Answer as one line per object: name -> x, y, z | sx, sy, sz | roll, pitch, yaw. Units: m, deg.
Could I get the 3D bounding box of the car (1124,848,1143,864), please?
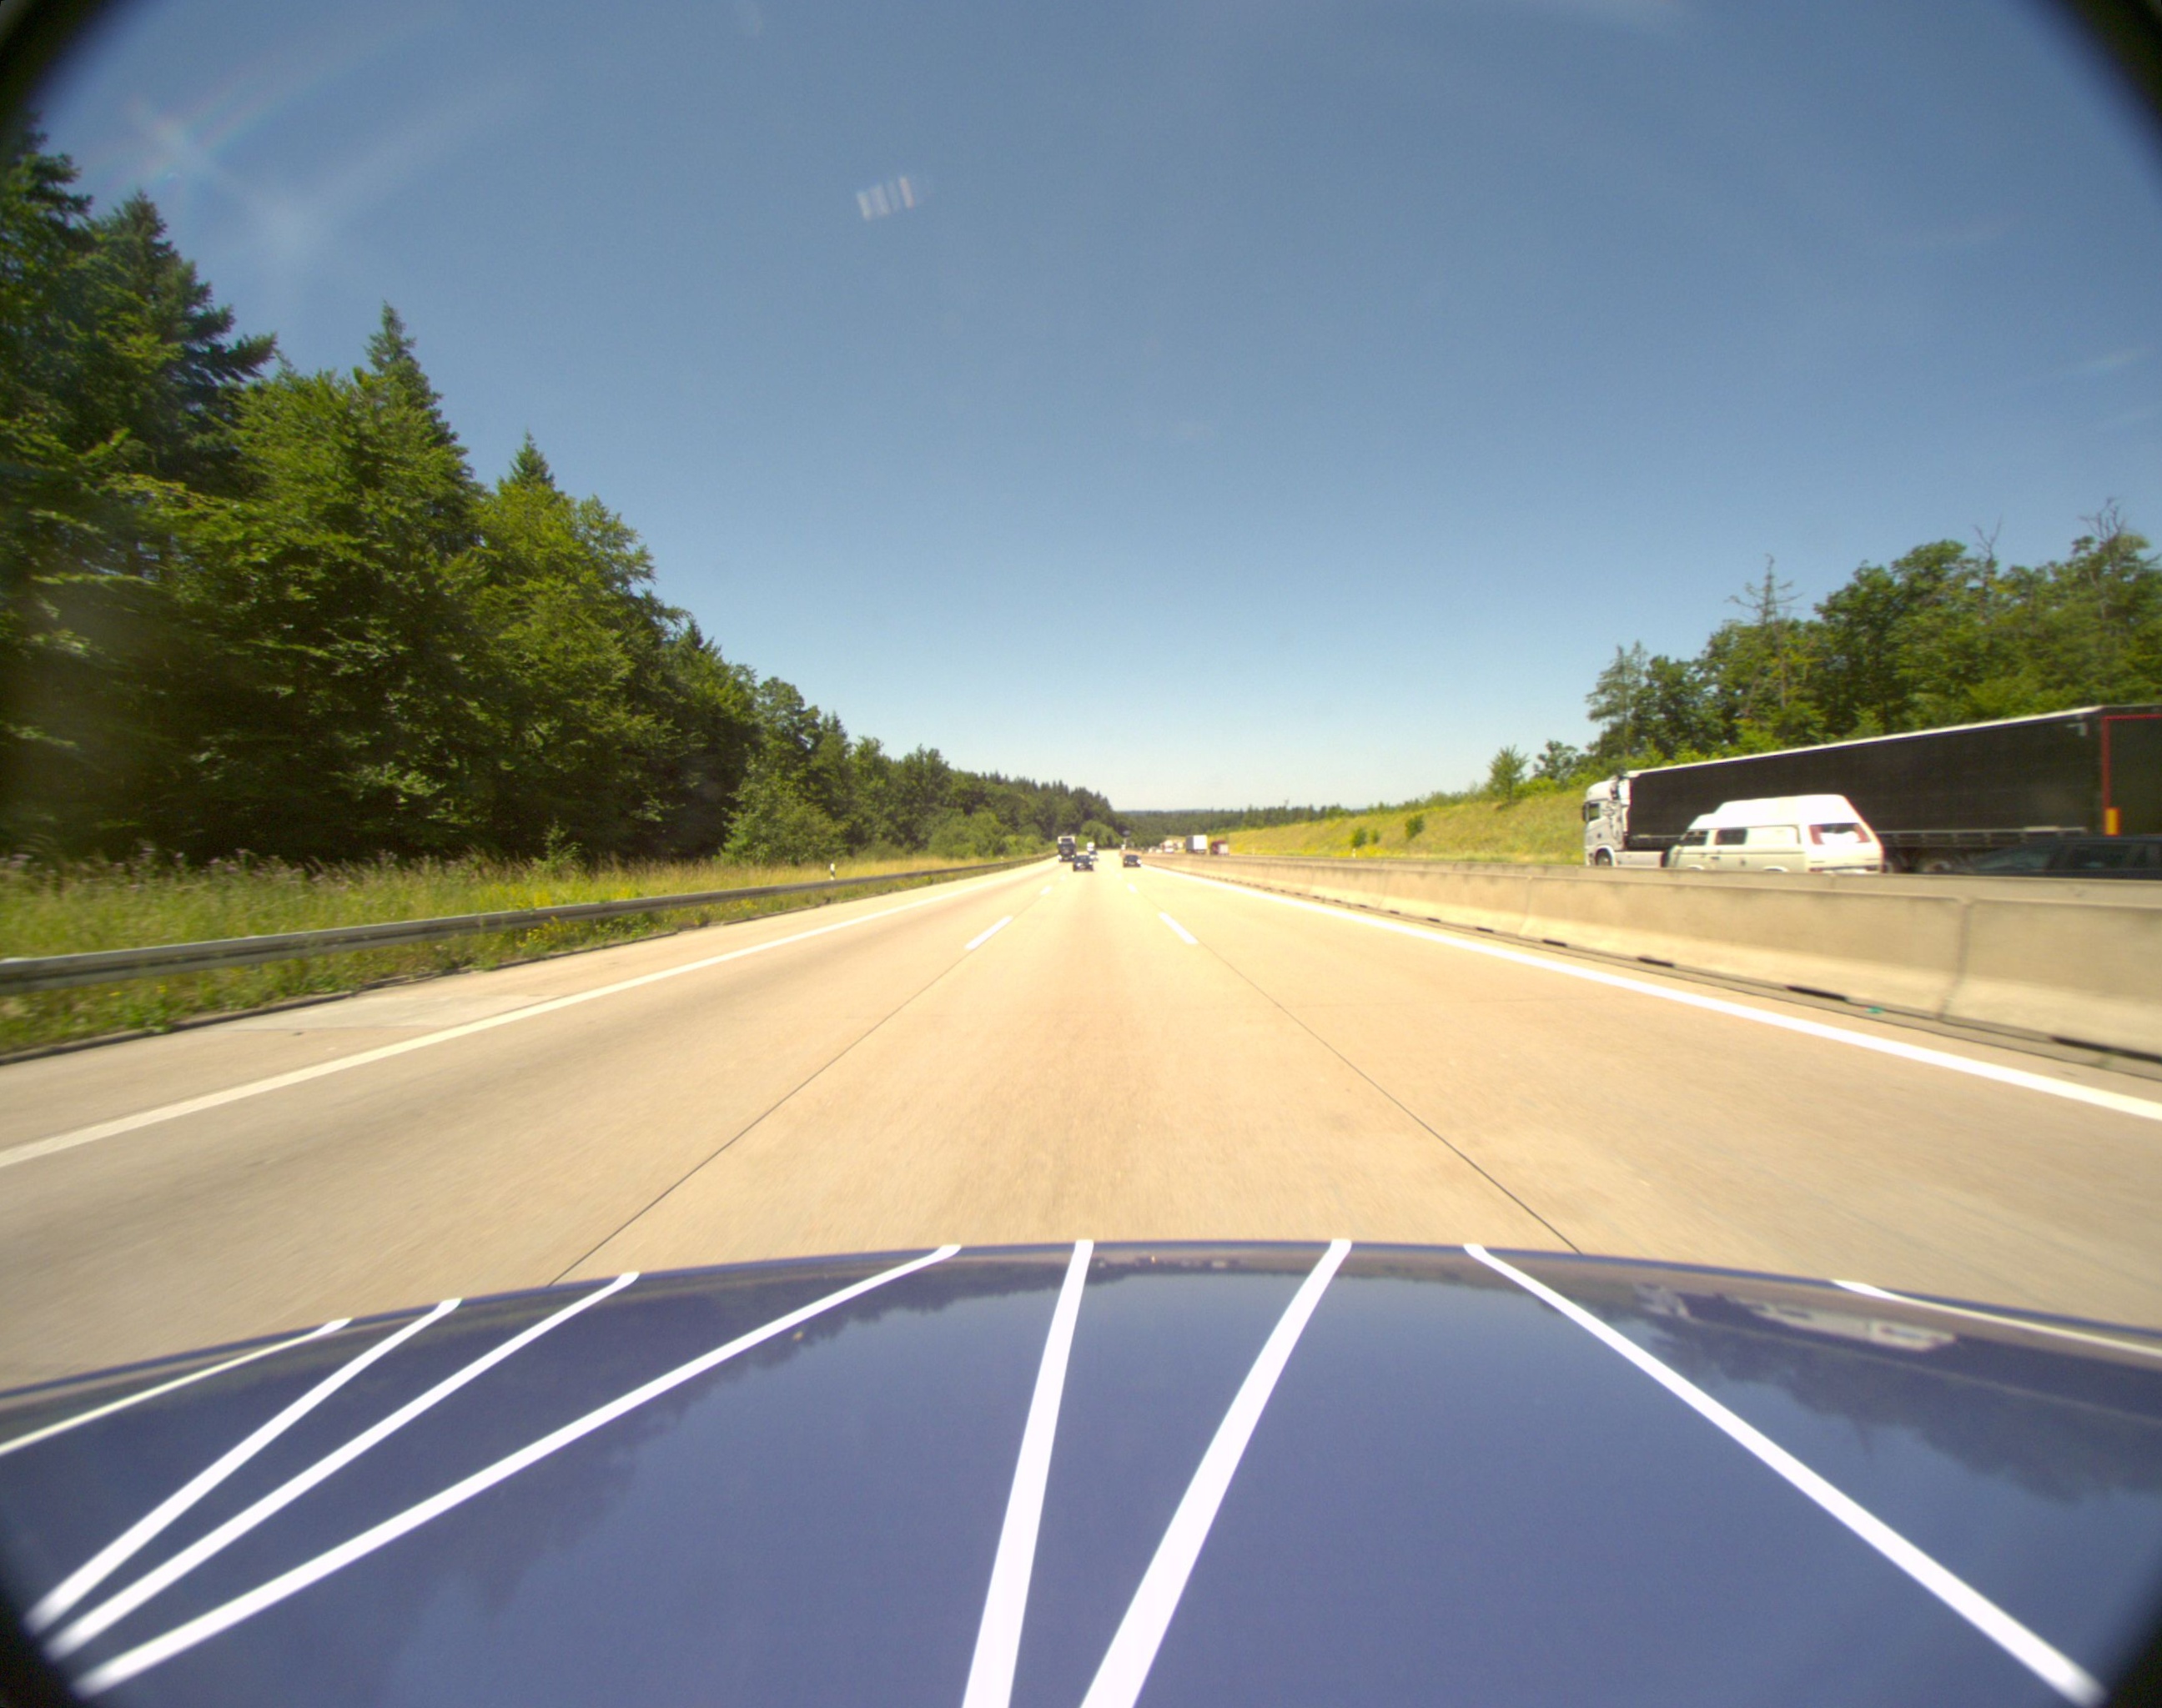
car -> 5.555, 0.229, 80.584 | 1.842, 1.547, 4.000 | -1, 1, 4

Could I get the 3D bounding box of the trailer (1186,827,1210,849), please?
trailer -> 24.669, -3.408, 161.186 | 3.264, 4.479, 13.737 | -1, 1, 1

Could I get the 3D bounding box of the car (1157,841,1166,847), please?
car -> 22.642, -2.819, 213.376 | 1.998, 1.574, 4.529 | -1, 1, 2

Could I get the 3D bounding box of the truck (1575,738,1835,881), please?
truck -> 22.540, -1.491, 28.270 | 3.264, 4.479, 7.984 | -1, 1, 1

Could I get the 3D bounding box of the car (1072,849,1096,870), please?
car -> 0.325, 0.494, 68.501 | 1.930, 1.694, 4.400 | -2, 1, 3

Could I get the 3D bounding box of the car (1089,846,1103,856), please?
car -> 2.533, -0.518, 129.531 | 1.998, 1.694, 4.400 | -2, 1, 4

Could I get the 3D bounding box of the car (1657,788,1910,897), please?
car -> 18.183, -0.279, 20.137 | 1.998, 2.471, 5.179 | -2, 0, 2

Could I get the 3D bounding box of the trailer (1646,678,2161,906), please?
trailer -> 22.389, -1.379, 21.534 | 3.264, 4.479, 13.118 | -1, 1, 1

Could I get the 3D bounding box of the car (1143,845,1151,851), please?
car -> 17.973, -1.678, 207.799 | 1.998, 1.574, 4.402 | -1, 1, 2

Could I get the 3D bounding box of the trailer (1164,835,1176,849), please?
trailer -> 27.405, -3.832, 234.789 | 2.940, 4.145, 9.333 | -1, 1, 1

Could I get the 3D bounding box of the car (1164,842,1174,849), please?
car -> 20.543, -2.046, 177.760 | 1.998, 1.574, 5.518 | -1, 1, 2

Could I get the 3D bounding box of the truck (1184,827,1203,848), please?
truck -> 24.840, -3.534, 167.852 | 3.264, 4.479, 6.574 | -1, 1, 1

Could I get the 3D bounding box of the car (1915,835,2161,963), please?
car -> 14.472, 0.543, 10.283 | 1.998, 1.574, 4.042 | -1, 1, 2

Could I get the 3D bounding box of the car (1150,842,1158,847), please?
car -> 22.914, -3.071, 238.954 | 1.998, 1.574, 4.430 | -1, 1, 2

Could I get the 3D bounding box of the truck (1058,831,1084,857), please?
truck -> -1.570, -1.697, 124.570 | 3.166, 3.994, 10.609 | 1, 1, 5

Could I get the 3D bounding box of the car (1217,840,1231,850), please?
car -> 23.818, -1.489, 126.698 | 1.618, 1.591, 3.576 | 1, 1, 1

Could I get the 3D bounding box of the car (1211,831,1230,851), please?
car -> 23.511, -2.131, 128.453 | 1.998, 3.223, 7.060 | -1, 1, 1
